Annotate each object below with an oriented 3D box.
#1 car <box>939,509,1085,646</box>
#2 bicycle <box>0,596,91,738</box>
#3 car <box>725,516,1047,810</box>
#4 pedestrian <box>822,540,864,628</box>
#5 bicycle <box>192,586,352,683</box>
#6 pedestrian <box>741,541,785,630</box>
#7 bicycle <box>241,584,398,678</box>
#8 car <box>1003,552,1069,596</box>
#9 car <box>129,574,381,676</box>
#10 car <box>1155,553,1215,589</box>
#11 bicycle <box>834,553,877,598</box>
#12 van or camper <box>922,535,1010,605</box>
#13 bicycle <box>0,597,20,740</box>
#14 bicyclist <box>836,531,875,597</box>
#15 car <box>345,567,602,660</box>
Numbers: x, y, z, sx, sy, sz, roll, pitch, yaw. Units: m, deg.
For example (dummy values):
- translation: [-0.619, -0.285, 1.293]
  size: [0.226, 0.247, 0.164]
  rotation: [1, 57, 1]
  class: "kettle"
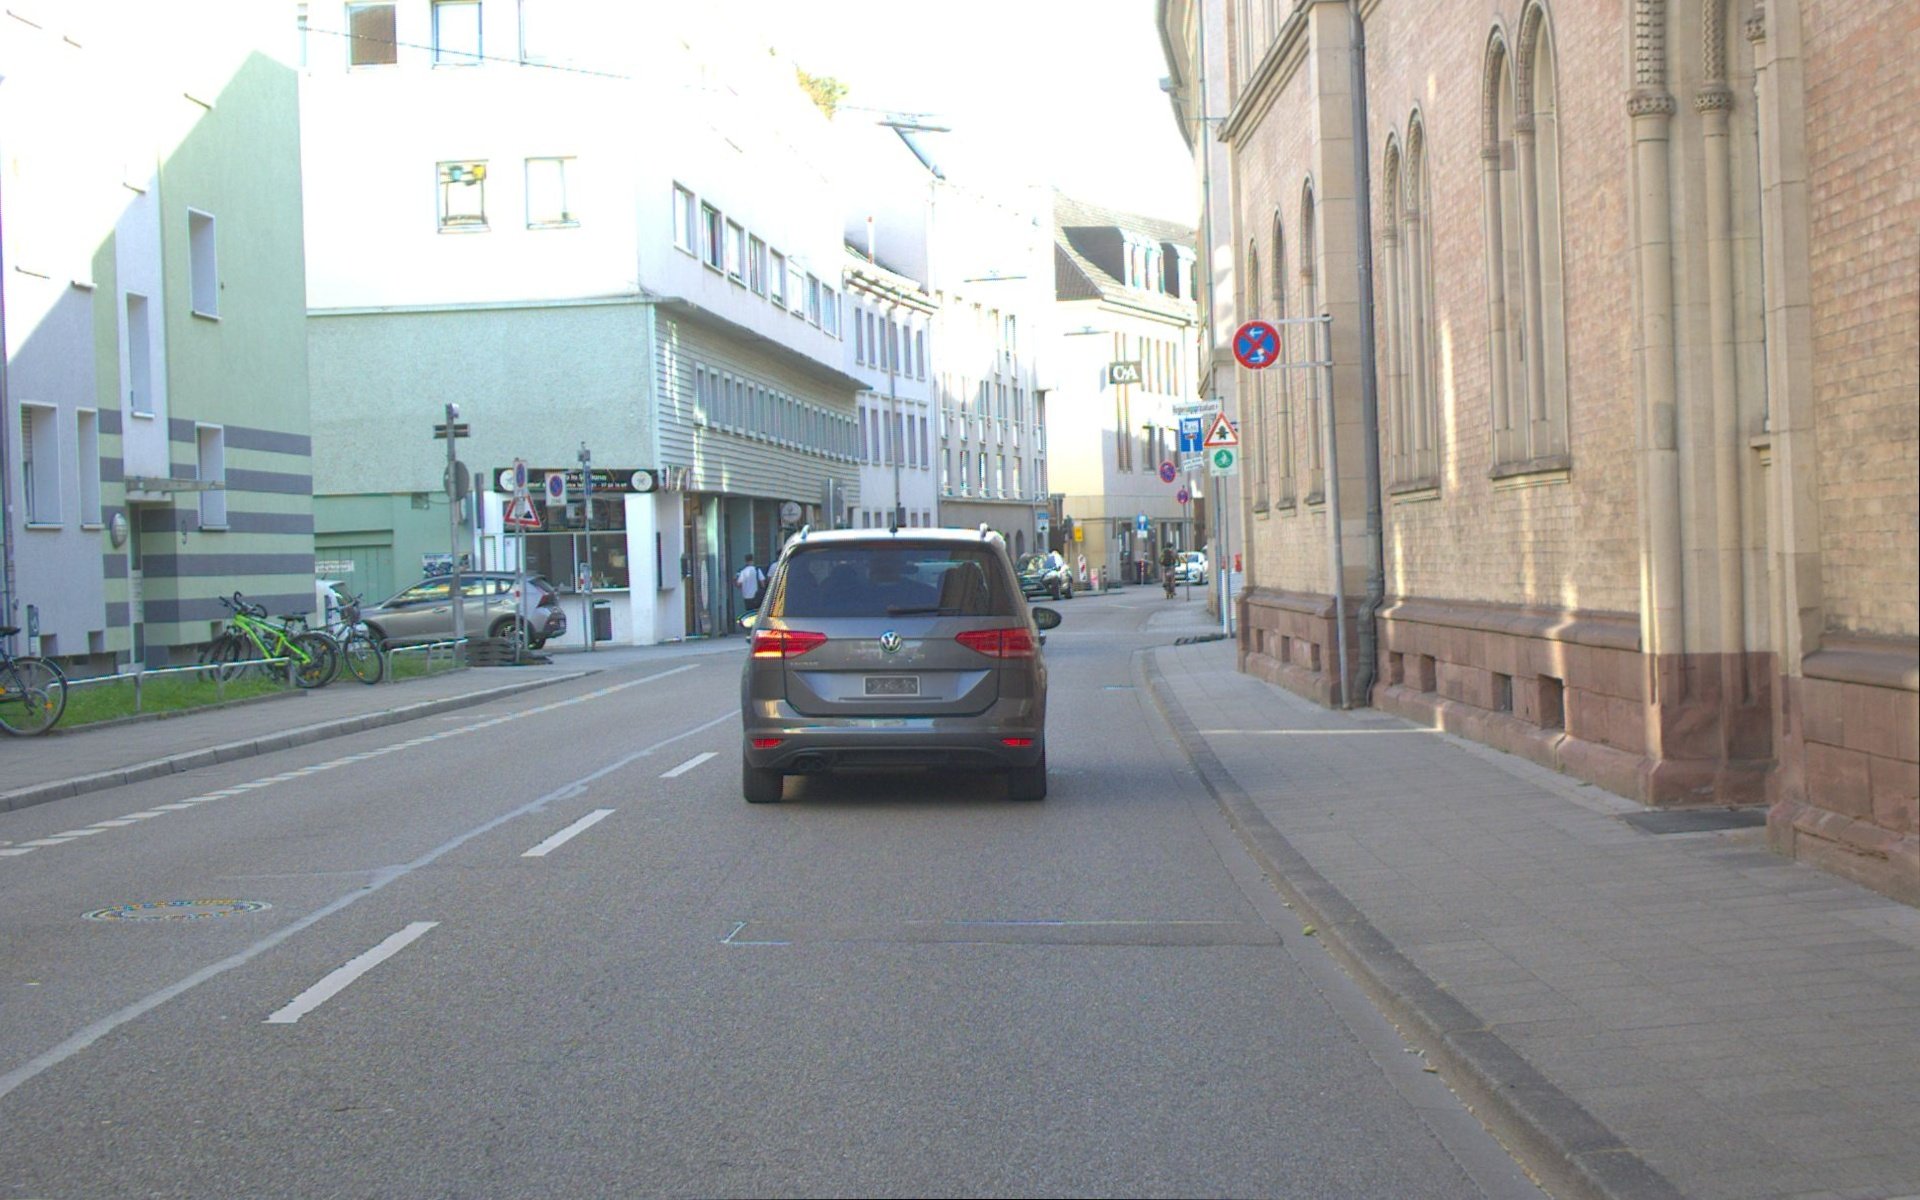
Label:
- translation: [0.756, -0.345, 50.098]
  size: [1.993, 1.875, 4.000]
  rotation: [-1, 1, 1]
  class: "car"
- translation: [-8.856, 0.610, 30.671]
  size: [2.008, 1.227, 0.623]
  rotation: [-1, 1, 0]
  class: "bicycle"
- translation: [-0.377, 0.326, 21.094]
  size: [1.762, 1.601, 4.000]
  rotation: [1, 1, 1]
  class: "car"
- translation: [-2.439, -0.335, 71.632]
  size: [0.556, 1.823, 0.730]
  rotation: [-1, 1, 26]
  class: "pedestrian"
- translation: [-8.591, 0.428, 42.920]
  size: [1.928, 1.175, 0.614]
  rotation: [1, 0, -13]
  class: "bicycle"
- translation: [-4.072, -0.305, 71.084]
  size: [0.556, 1.823, 0.730]
  rotation: [-1, 1, 26]
  class: "pedestrian"
- translation: [-8.263, 0.402, 44.376]
  size: [1.928, 1.175, 0.613]
  rotation: [1, 0, -6]
  class: "bicycle"
- translation: [2.669, -0.923, 119.869]
  size: [1.866, 1.463, 3.833]
  rotation: [-1, 1, 7]
  class: "car"
- translation: [-11.175, 0.383, 54.638]
  size: [3.501, 1.438, 1.813]
  rotation: [-2, 1, 4]
  class: "car"
- translation: [9.817, -1.261, 149.804]
  size: [1.735, 1.463, 3.997]
  rotation: [-1, 1, 16]
  class: "car"
- translation: [-2.501, -0.595, 82.359]
  size: [0.831, 1.050, 2.549]
  rotation: [-1, 1, 2]
  class: "bicycle"
- translation: [0.204, -0.927, 103.788]
  size: [1.994, 2.007, 4.481]
  rotation: [-1, 1, 8]
  class: "van or camper"
- translation: [-9.092, 0.613, 29.959]
  size: [1.639, 1.237, 0.467]
  rotation: [-1, 1, 0]
  class: "bicycle"
- translation: [-2.499, -0.855, 82.379]
  size: [0.831, 1.556, 0.759]
  rotation: [-1, 1, 2]
  class: "bicyclist"
- translation: [-8.507, 0.219, 60.386]
  size: [4.098, 1.438, 1.947]
  rotation: [-2, 1, 4]
  class: "car"
